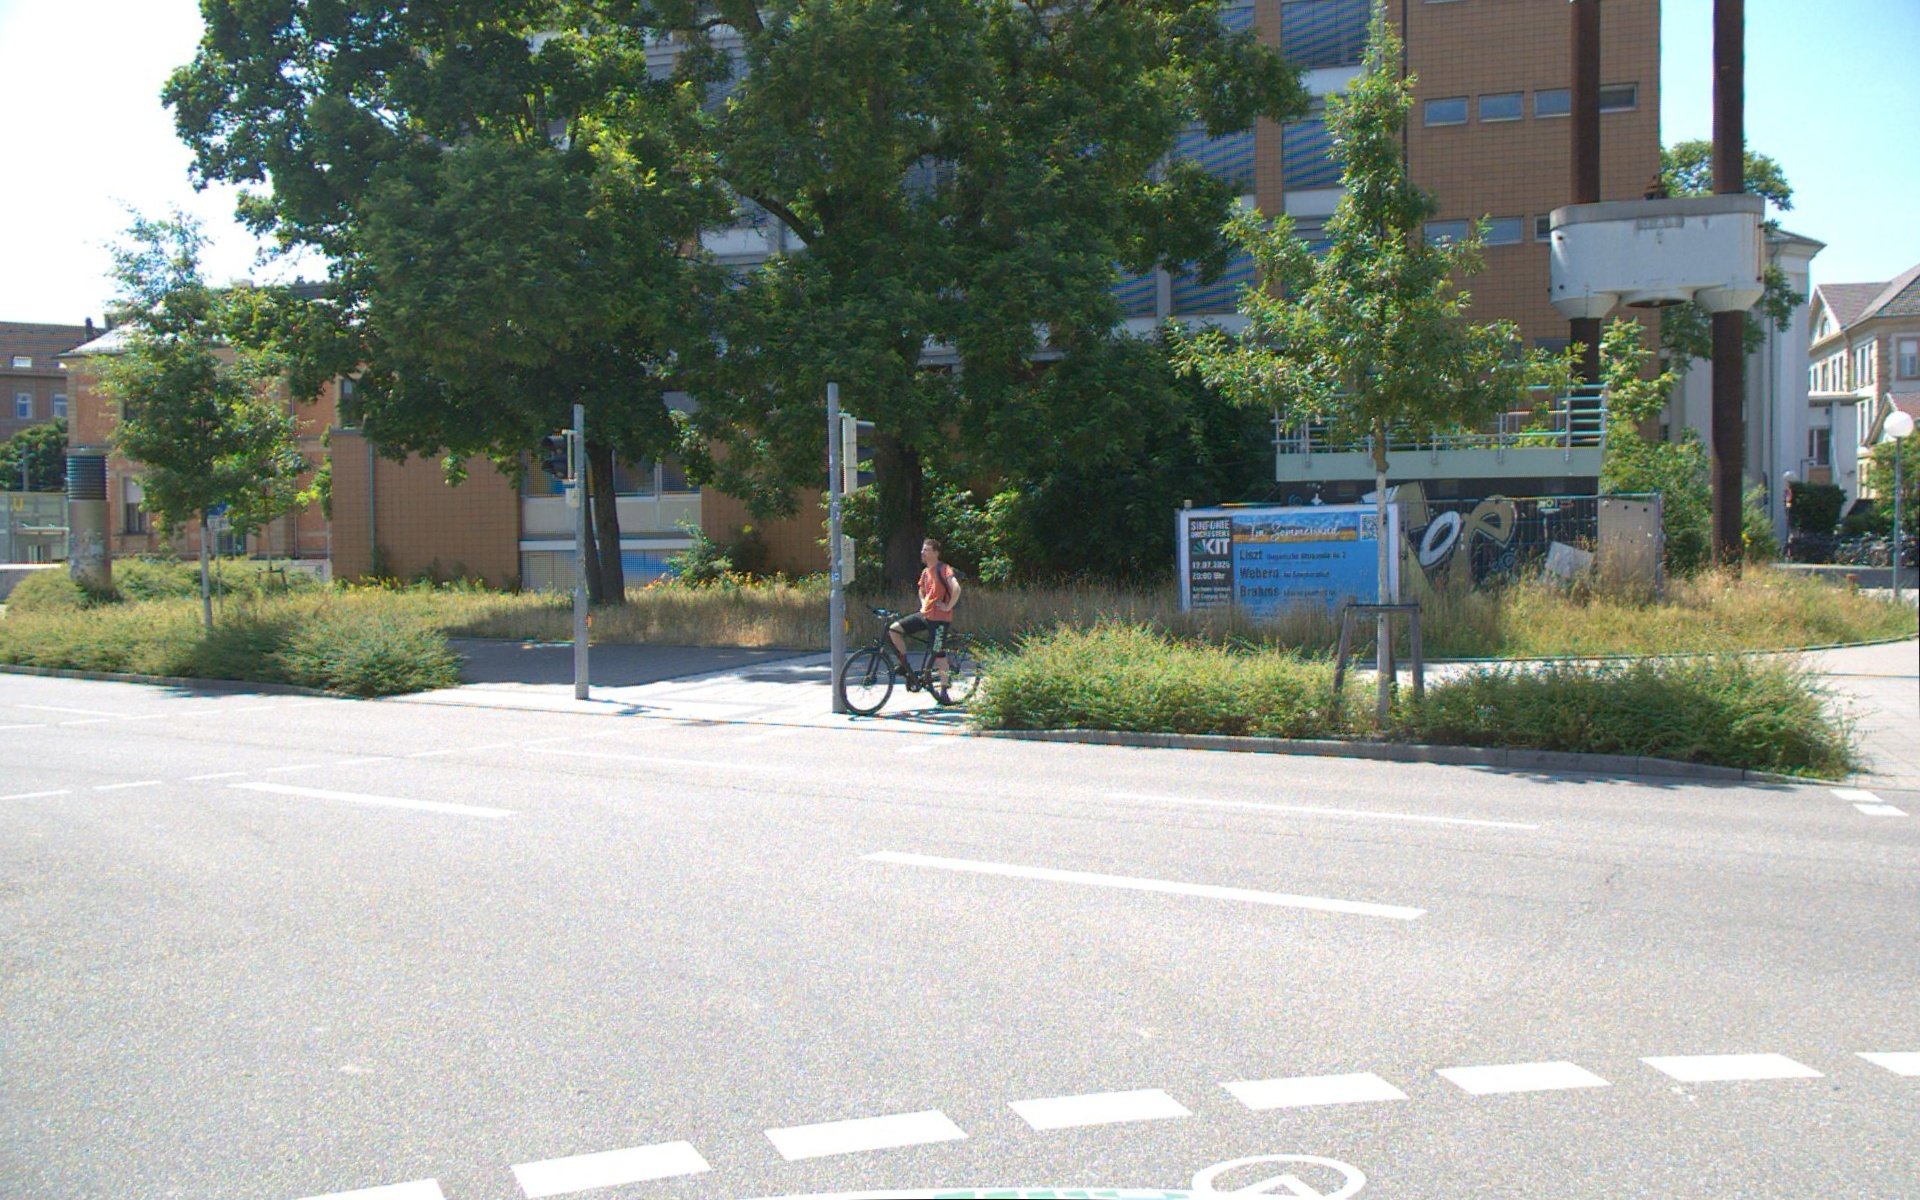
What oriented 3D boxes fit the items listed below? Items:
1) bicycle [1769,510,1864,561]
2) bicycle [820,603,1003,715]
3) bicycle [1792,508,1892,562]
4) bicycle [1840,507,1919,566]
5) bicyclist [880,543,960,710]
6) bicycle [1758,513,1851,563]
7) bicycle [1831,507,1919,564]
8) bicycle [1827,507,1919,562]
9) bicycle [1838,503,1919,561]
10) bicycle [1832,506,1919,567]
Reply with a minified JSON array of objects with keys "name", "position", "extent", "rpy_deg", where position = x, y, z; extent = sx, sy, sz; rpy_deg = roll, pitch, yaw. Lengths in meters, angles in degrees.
[{"name":"bicycle","position":[35.697,-2.687,69.020],"extent":[3.376,2.048,0.761],"rpy_deg":[2,2,19]},{"name":"bicycle","position":[-0.509,0.614,17.913],"extent":[1.971,1.063,0.553],"rpy_deg":[-3,4,-31]},{"name":"bicycle","position":[35.186,-2.605,66.041],"extent":[3.376,2.048,0.761],"rpy_deg":[2,2,19]},{"name":"bicycle","position":[33.458,-2.250,59.155],"extent":[3.376,2.048,0.761],"rpy_deg":[2,2,19]},{"name":"bicyclist","position":[-0.432,0.267,17.949],"extent":[0.694,1.745,0.546],"rpy_deg":[-2,4,-32]},{"name":"bicycle","position":[35.923,-2.656,70.403],"extent":[3.376,2.048,0.761],"rpy_deg":[2,2,19]},{"name":"bicycle","position":[34.509,-2.422,61.735],"extent":[3.376,2.048,0.761],"rpy_deg":[2,2,19]},{"name":"bicycle","position":[35.470,-2.534,63.871],"extent":[3.376,2.048,0.761],"rpy_deg":[2,2,19]},{"name":"bicycle","position":[34.176,-2.486,60.639],"extent":[3.376,2.048,0.761],"rpy_deg":[2,2,19]},{"name":"bicycle","position":[32.538,-2.217,57.923],"extent":[3.376,2.048,0.761],"rpy_deg":[2,2,19]}]
